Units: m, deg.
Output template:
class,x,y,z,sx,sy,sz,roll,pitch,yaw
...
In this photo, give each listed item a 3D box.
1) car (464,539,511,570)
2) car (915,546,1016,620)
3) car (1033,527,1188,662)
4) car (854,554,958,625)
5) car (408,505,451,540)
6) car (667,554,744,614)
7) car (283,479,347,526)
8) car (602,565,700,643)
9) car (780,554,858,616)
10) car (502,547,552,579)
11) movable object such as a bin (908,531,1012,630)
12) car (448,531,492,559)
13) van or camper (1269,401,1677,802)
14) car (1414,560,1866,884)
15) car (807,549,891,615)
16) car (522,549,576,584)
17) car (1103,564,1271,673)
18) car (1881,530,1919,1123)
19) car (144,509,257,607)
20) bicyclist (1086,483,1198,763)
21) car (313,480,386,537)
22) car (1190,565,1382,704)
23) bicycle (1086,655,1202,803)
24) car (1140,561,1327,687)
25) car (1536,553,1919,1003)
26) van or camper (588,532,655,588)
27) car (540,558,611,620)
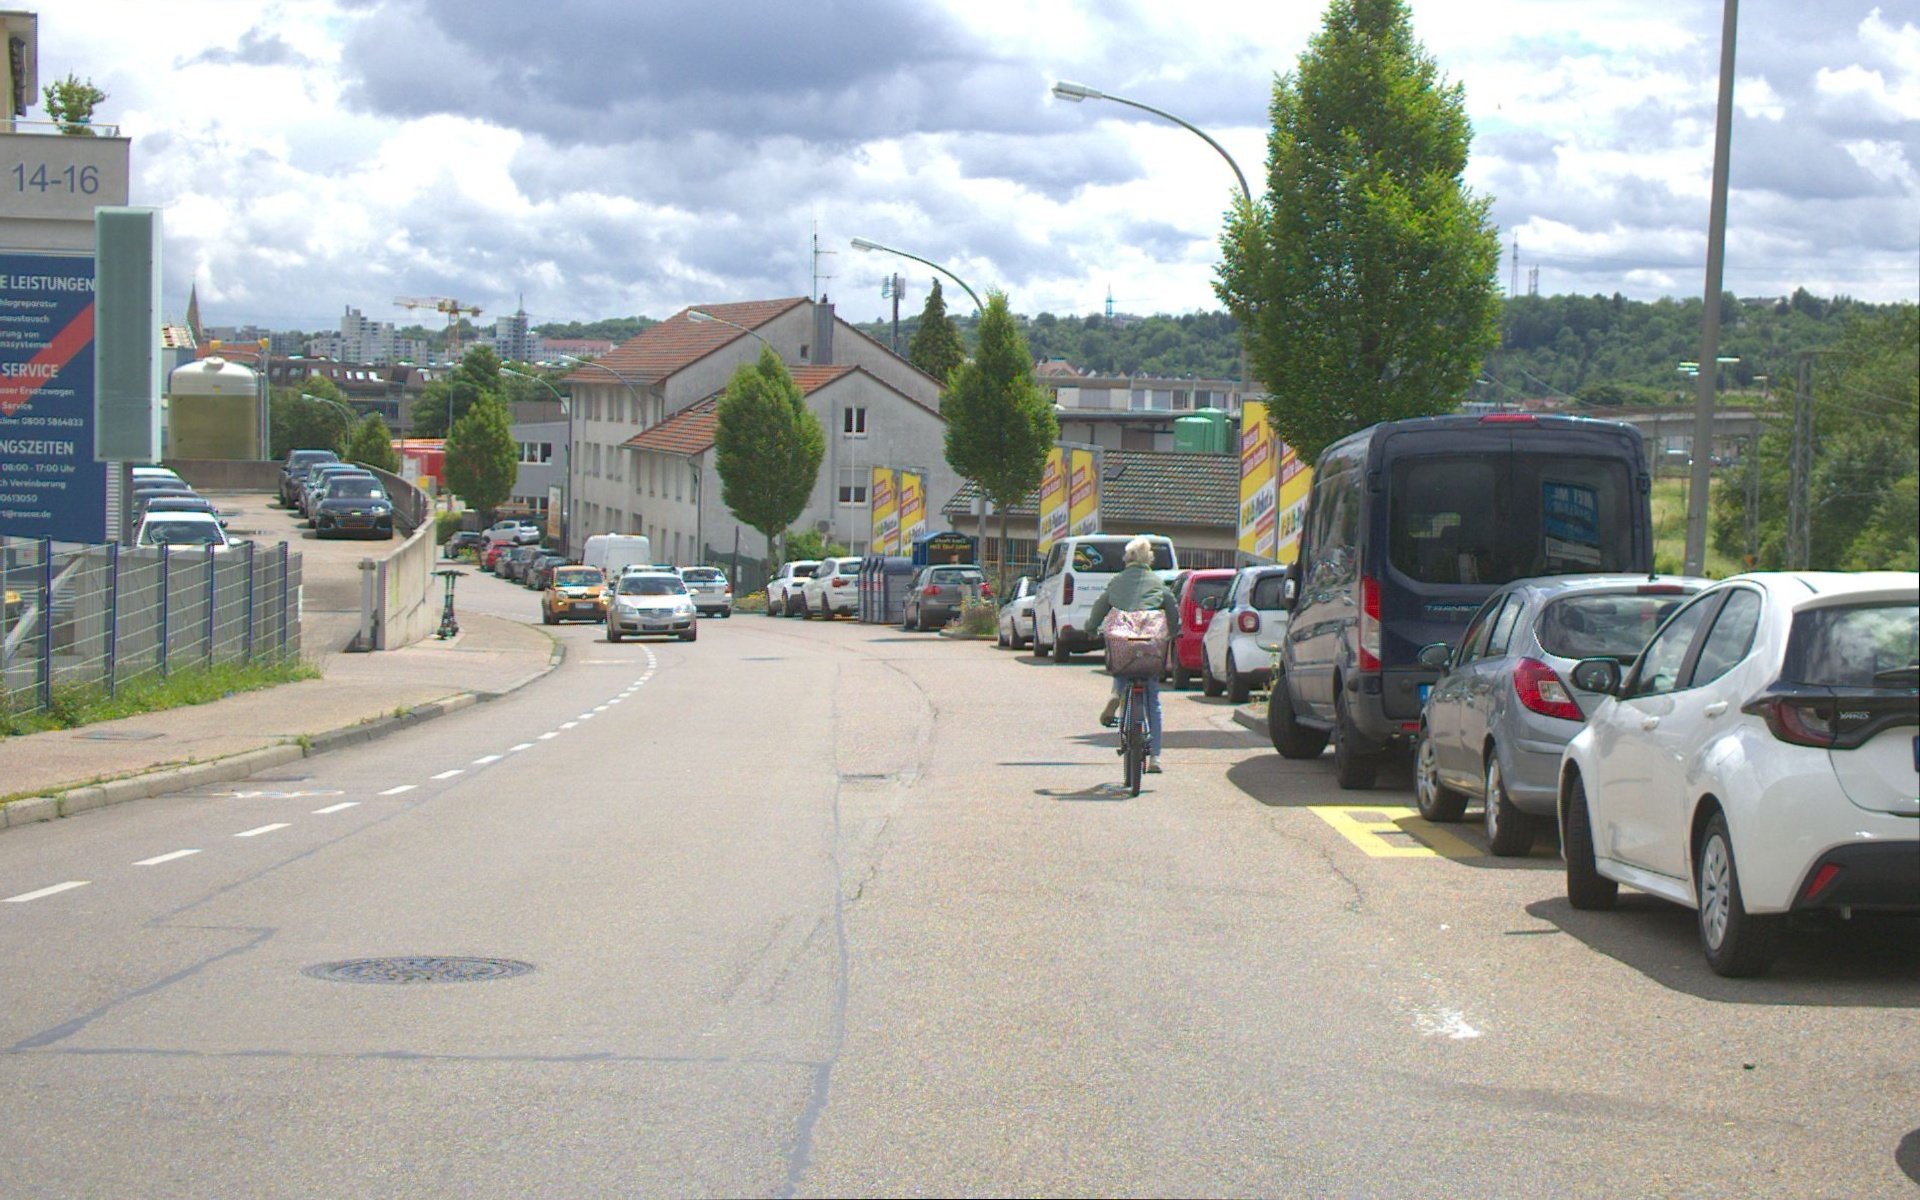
class,x,y,z,sx,sy,sz,roll,pitch,yaw
car,-22.916,-2.223,166.755,1.993,1.459,4.001,-1,1,-11
car,0.094,-0.394,77.389,1.993,1.612,4.001,-1,1,-4
car,2.346,-0.113,54.771,1.993,2.007,4.918,1,1,-2
car,-1.375,-0.281,86.325,2.134,1.700,4.001,-1,1,-8
car,-32.297,-4.719,209.132,1.993,2.007,4.001,3,1,-16
car,-7.193,-0.467,96.807,1.993,1.612,4.001,-1,1,-6
car,-18.832,-2.847,100.274,1.669,1.319,3.719,-1,2,-13
car,-6.483,0.058,71.786,1.702,1.556,4.329,0,1,-10
car,-4.008,-0.428,97.253,1.842,1.700,4.001,-1,1,-8
car,-20.225,-1.709,160.439,1.993,1.459,4.001,-1,1,-11
movable object such as a bin,-0.027,-0.484,81.965,2.134,2.295,2.558,-1,1,-8
car,-26.017,-2.925,182.618,1.993,1.415,4.001,-1,1,-12
van or camper,3.593,-0.029,25.280,2.124,2.576,5.917,1,1,0
car,3.601,0.581,18.827,1.705,1.505,3.696,2,1,0
car,-2.986,-0.500,91.659,1.813,1.700,4.001,-1,1,-8
car,-17.835,-1.461,149.218,1.993,1.459,4.001,-1,1,-11
car,3.135,0.232,48.095,1.903,1.437,3.544,-1,1,-3
car,3.267,0.641,6.652,1.705,1.482,4.573,2,1,0
car,-13.360,-0.731,60.355,1.846,1.645,4.001,-1,1,-13
bicyclist,1.210,0.146,22.990,0.684,1.819,1.080,-1,1,1
car,-14.722,-2.214,82.776,1.669,1.319,3.719,0,2,-11
car,3.664,0.363,39.088,1.793,1.501,2.906,-1,1,-2
bicycle,1.214,0.843,22.980,0.687,0.875,2.102,-1,1,1
car,3.419,0.264,43.636,1.875,1.503,4.000,-1,1,-2
car,3.531,0.600,13.677,1.705,1.474,3.958,2,1,-1
van or camper,-13.079,-1.547,132.634,1.993,2.007,4.001,3,1,-13
car,-10.191,-0.311,90.953,1.708,1.568,4.001,-1,1,-8
